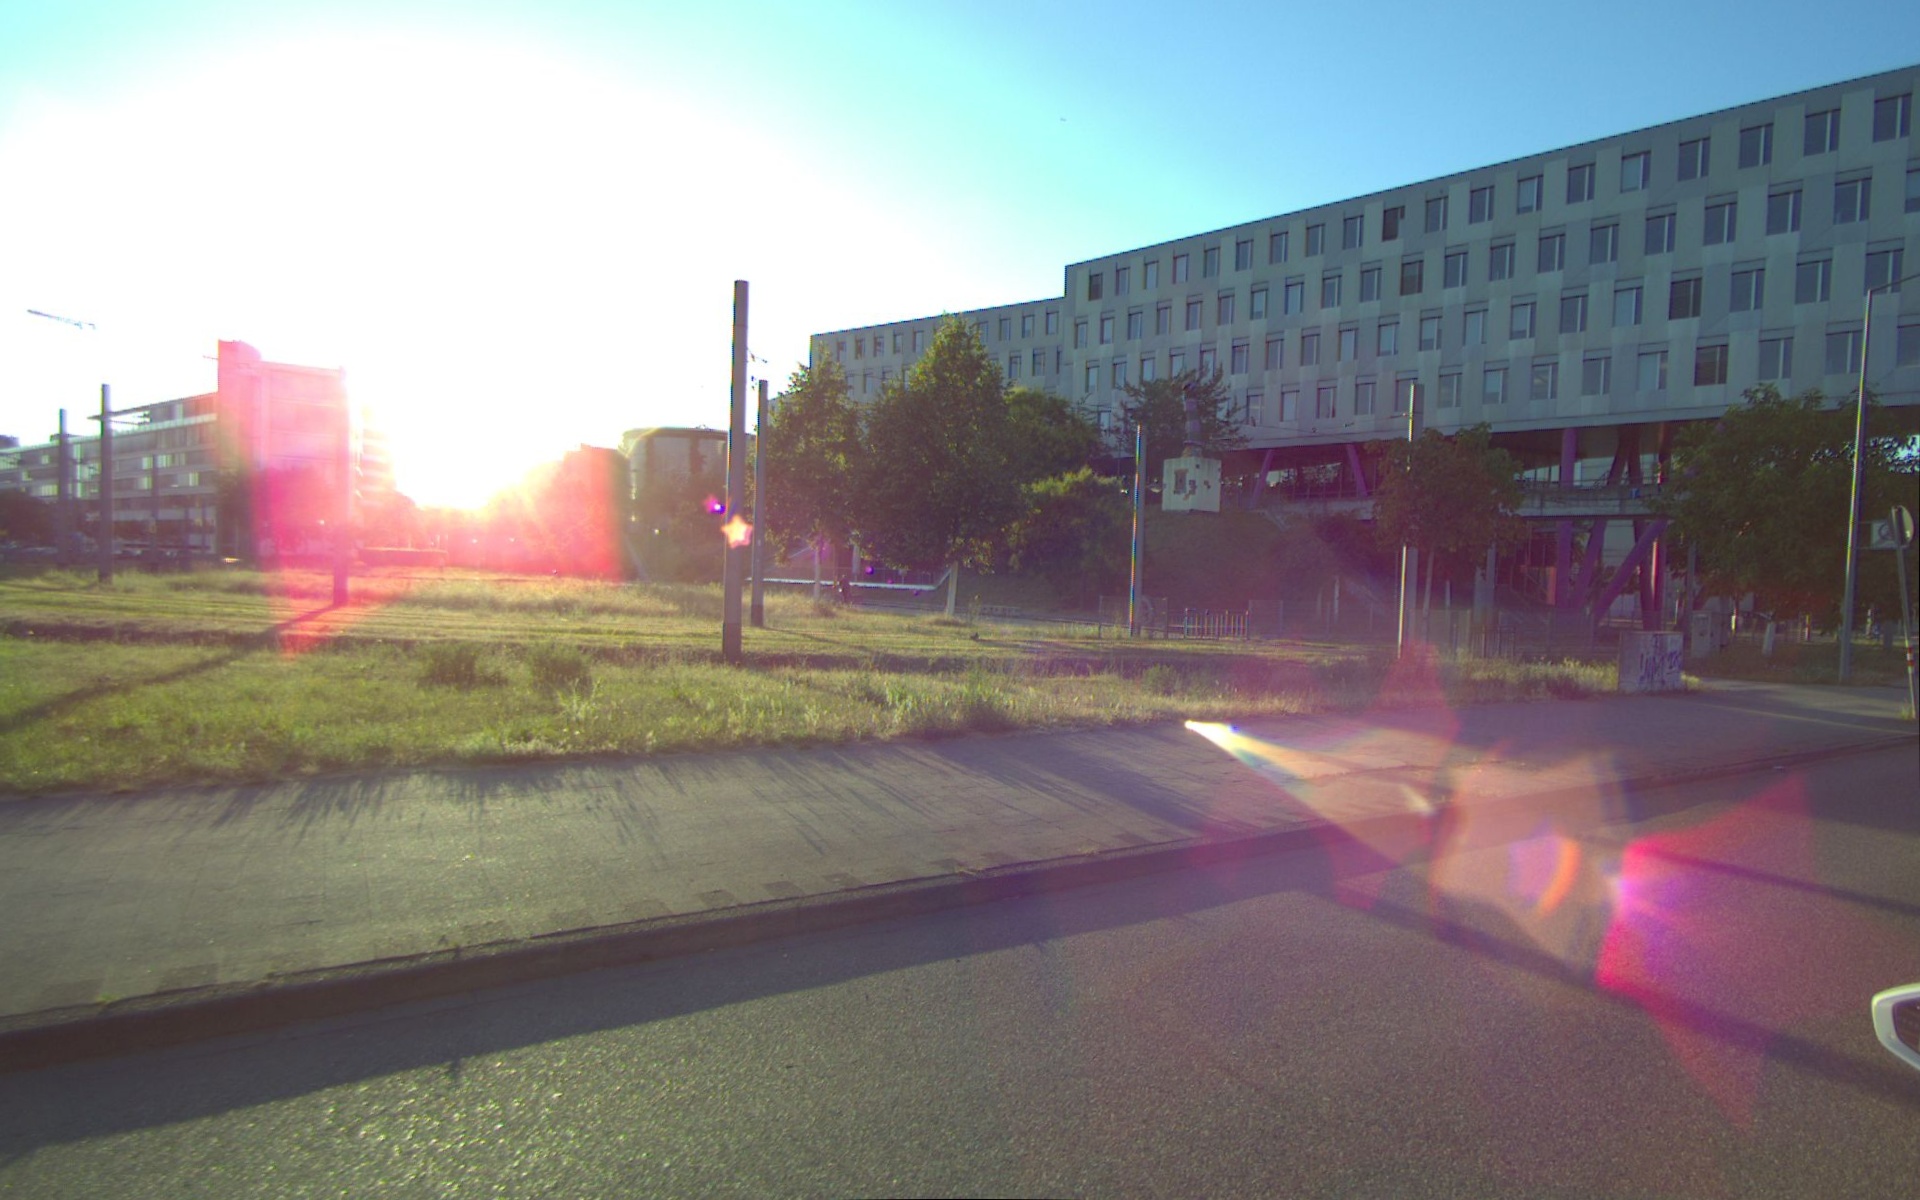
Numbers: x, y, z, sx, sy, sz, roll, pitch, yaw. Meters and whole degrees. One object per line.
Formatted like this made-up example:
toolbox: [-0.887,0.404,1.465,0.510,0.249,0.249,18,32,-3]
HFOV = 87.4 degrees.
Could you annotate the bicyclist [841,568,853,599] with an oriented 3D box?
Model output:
bicyclist: [-5.540,-0.813,49.208,0.419,1.515,0.509,0,2,-32]

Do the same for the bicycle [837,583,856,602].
bicycle: [-5.558,-0.358,49.243,0.426,0.912,1.224,0,2,-32]

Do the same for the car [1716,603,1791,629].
car: [64.787,1.261,82.051,1.925,1.841,4.437,0,2,-35]
